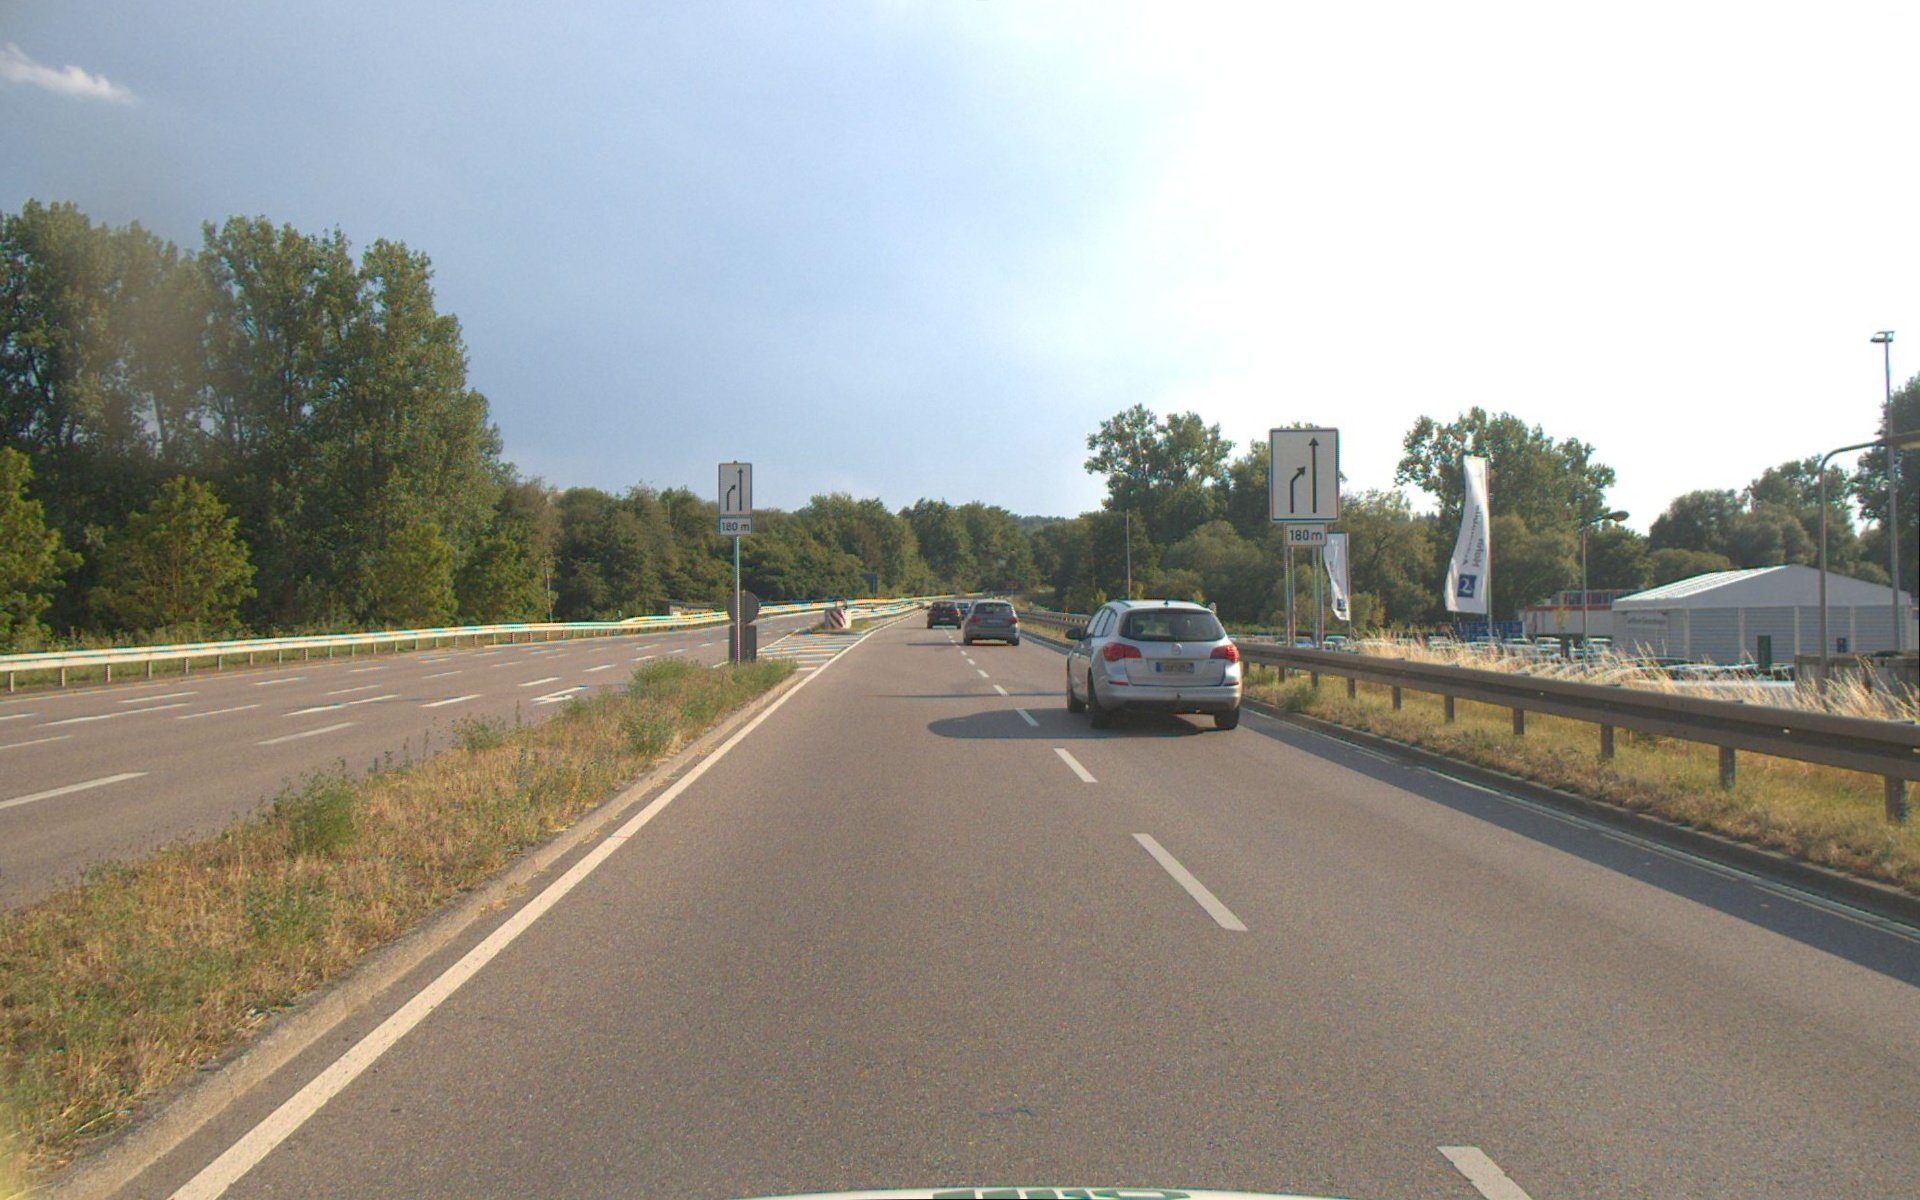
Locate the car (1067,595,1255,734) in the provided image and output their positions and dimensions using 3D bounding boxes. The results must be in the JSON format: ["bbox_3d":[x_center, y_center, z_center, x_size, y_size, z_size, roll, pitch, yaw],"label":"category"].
[{"bbox_3d":[2.369,0.753,20.378,1.772,1.512,3.999,1,-1,-1],"label":"car"}]

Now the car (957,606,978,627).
[{"bbox_3d":[0.508,1.212,119.544,1.462,1.502,3.358,1,-1,0],"label":"car"}]

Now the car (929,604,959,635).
[{"bbox_3d":[-0.789,1.015,84.279,1.462,1.502,3.358,1,-1,0],"label":"car"}]

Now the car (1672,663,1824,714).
[{"bbox_3d":[26.835,2.999,56.441,4.324,1.570,1.802,1,-1,7],"label":"car"}]

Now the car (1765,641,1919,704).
[{"bbox_3d":[25.340,2.025,46.714,4.324,1.744,1.802,0,-1,7],"label":"car"}]

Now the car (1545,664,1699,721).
[{"bbox_3d":[19.739,2.740,49.408,3.890,1.570,1.788,1,-1,3],"label":"car"}]

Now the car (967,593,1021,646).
[{"bbox_3d":[1.081,0.638,53.460,1.633,1.601,3.999,1,-1,0],"label":"car"}]

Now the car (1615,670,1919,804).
[{"bbox_3d":[14.337,2.278,27.905,5.759,2.049,2.000,1,-1,2],"label":"car"}]

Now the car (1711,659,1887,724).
[{"bbox_3d":[24.867,2.697,49.148,4.324,1.744,1.802,1,-1,7],"label":"car"}]

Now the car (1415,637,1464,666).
[{"bbox_3d":[28.981,3.090,100.093,1.840,1.665,4.731,1,-1,3],"label":"car"}]
